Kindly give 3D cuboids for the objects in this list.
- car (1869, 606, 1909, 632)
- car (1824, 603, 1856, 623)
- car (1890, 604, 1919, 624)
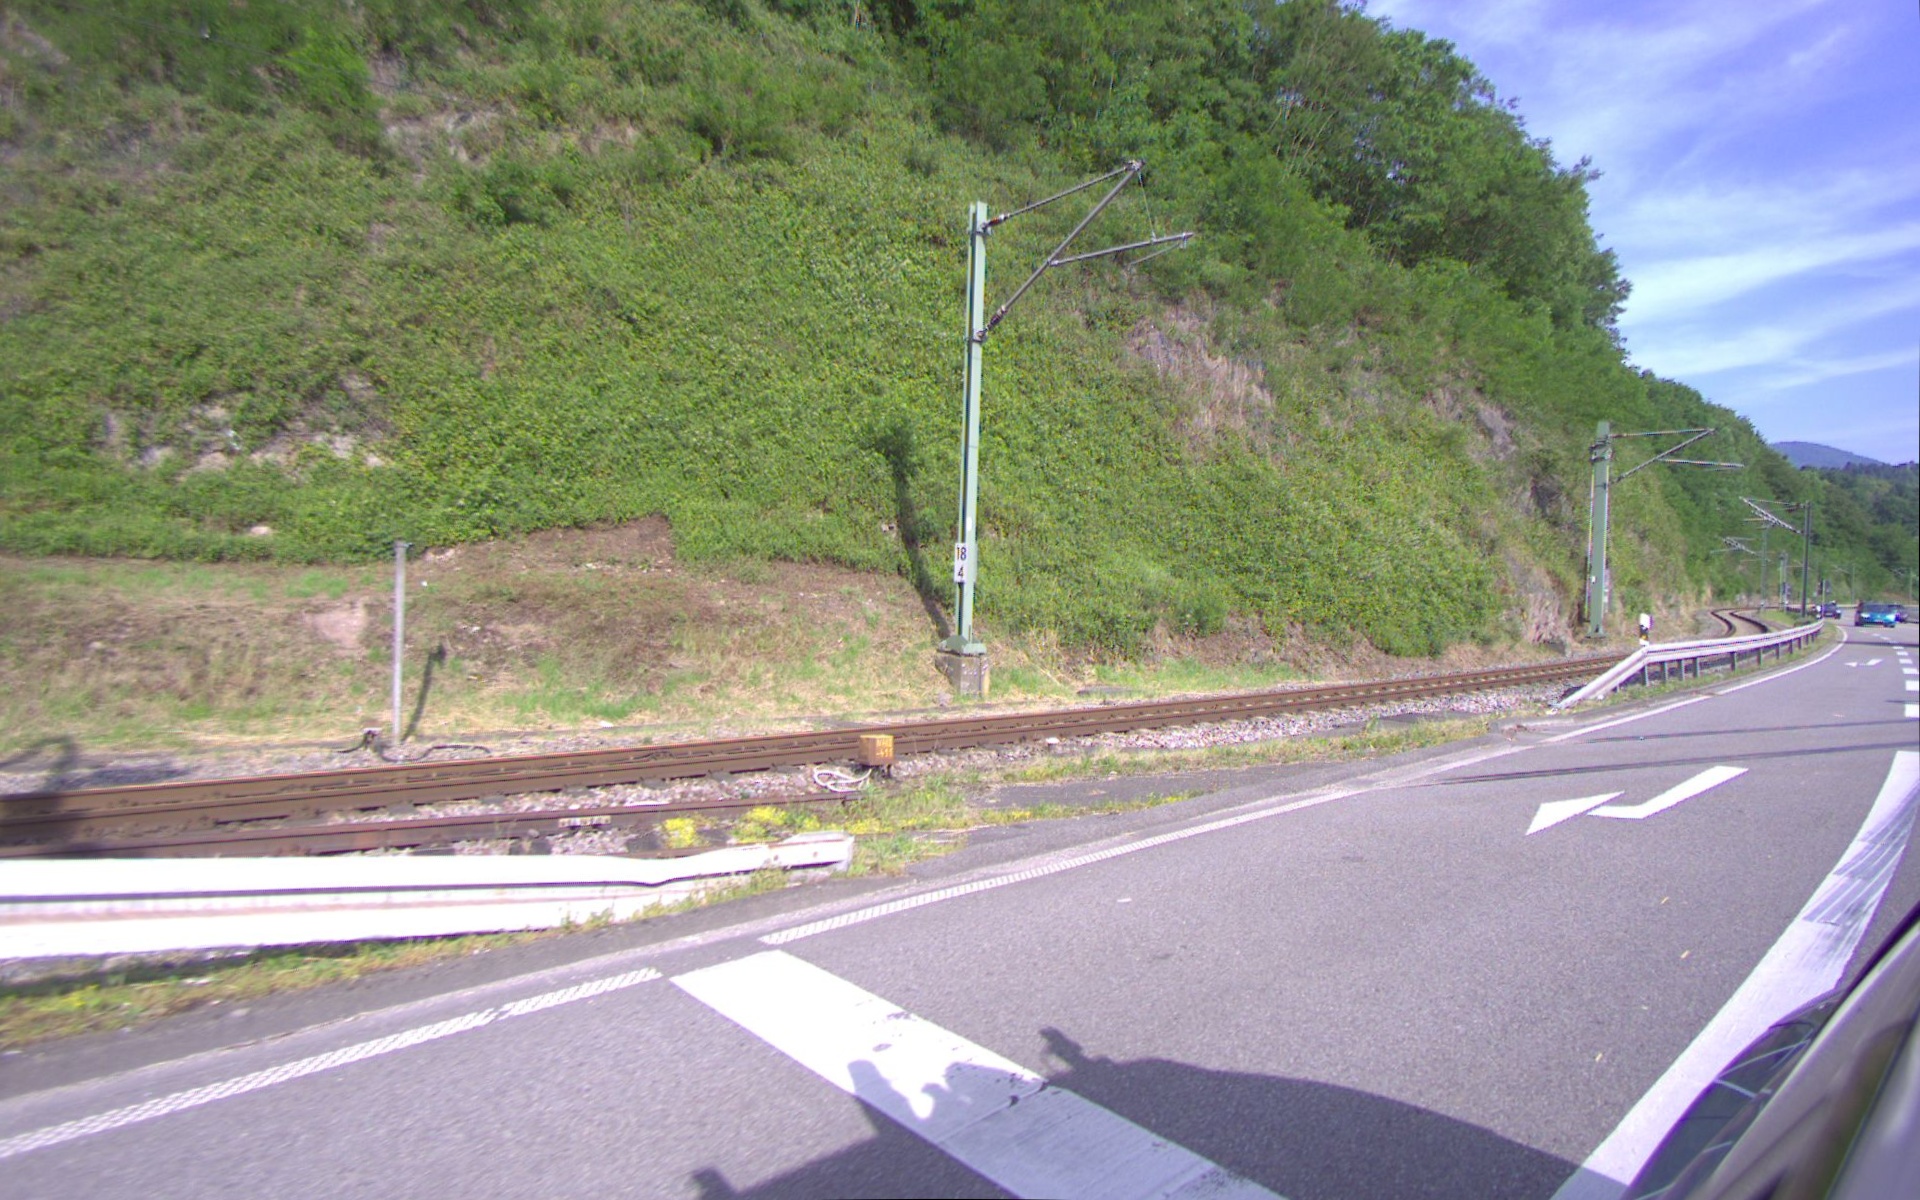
[{"bbox_3d":[60.936,1.222,66.424,1.762,1.478,3.524,4,2,40],"label":"car"},{"bbox_3d":[82.352,1.223,94.776,1.989,1.816,3.945,1,0,37],"label":"car"},{"bbox_3d":[83.224,1.214,88.836,1.813,1.667,4.550,2,1,37],"label":"car"}]
